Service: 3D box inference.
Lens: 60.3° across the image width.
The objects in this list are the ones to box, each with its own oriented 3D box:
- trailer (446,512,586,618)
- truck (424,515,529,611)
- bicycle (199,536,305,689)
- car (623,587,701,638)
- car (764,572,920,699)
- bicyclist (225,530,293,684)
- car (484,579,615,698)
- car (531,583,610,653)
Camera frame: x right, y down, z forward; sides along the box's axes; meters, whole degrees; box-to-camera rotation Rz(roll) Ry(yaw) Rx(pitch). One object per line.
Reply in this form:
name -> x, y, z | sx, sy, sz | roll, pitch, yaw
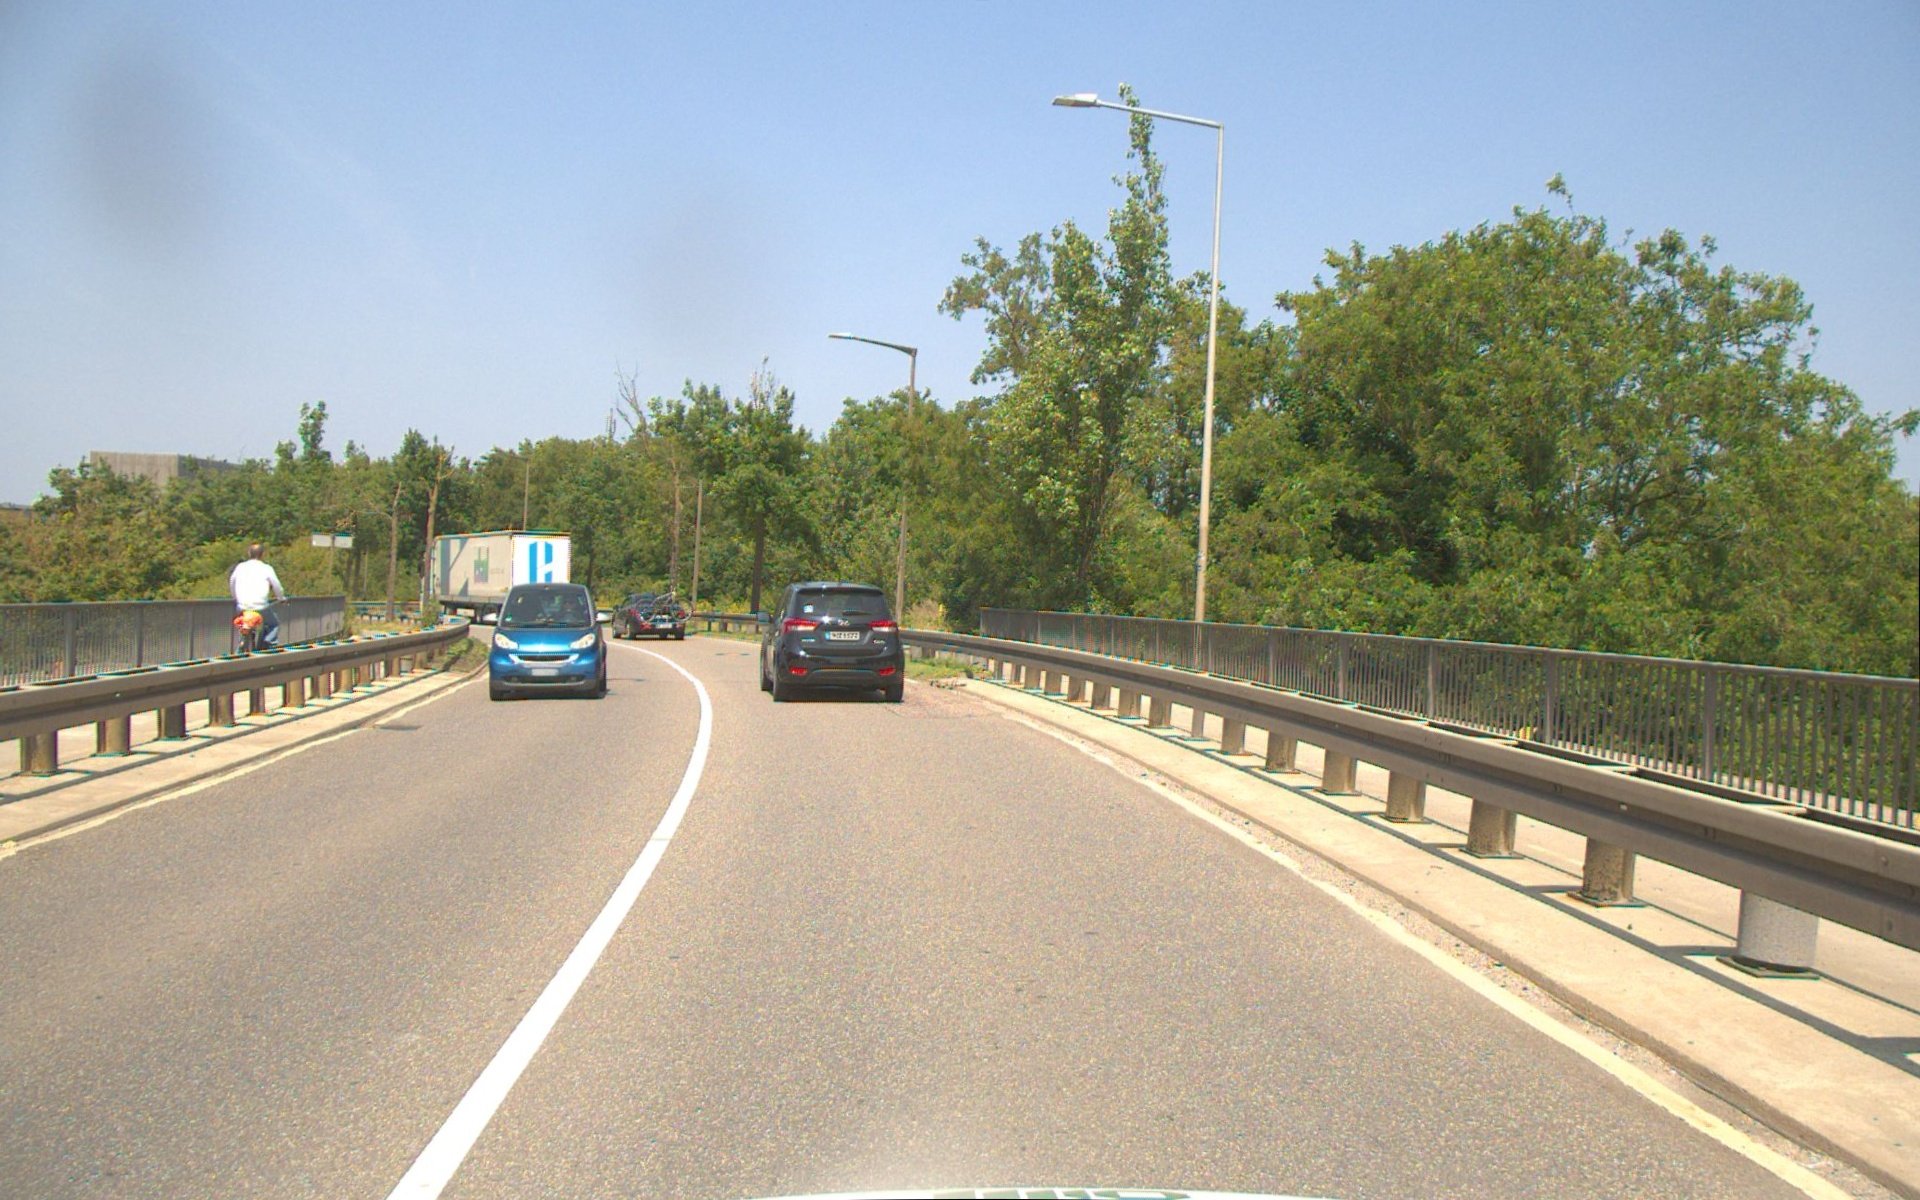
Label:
trailer -> -20.345, -1.613, 75.133 | 3.531, 4.460, 11.331 | 0, 1, -29
truck -> -23.827, -1.812, 81.298 | 3.536, 4.518, 6.449 | 0, 1, -31
bicycle -> -8.900, 0.126, 20.884 | 0.685, 1.833, 2.177 | 1, 1, -9
car -> -9.287, 0.372, 51.302 | 1.979, 1.454, 3.759 | 0, 1, -17
car -> -1.747, 0.432, 23.259 | 1.886, 1.601, 3.884 | 1, 1, -9
bicyclist -> -8.931, 0.080, 21.092 | 0.612, 1.919, 0.711 | 1, 1, -8
car -> -5.639, 0.487, 22.942 | 1.568, 1.512, 2.741 | 1, 1, -10
car -> -9.590, 0.413, 40.840 | 1.791, 1.563, 4.182 | 1, 1, -13
